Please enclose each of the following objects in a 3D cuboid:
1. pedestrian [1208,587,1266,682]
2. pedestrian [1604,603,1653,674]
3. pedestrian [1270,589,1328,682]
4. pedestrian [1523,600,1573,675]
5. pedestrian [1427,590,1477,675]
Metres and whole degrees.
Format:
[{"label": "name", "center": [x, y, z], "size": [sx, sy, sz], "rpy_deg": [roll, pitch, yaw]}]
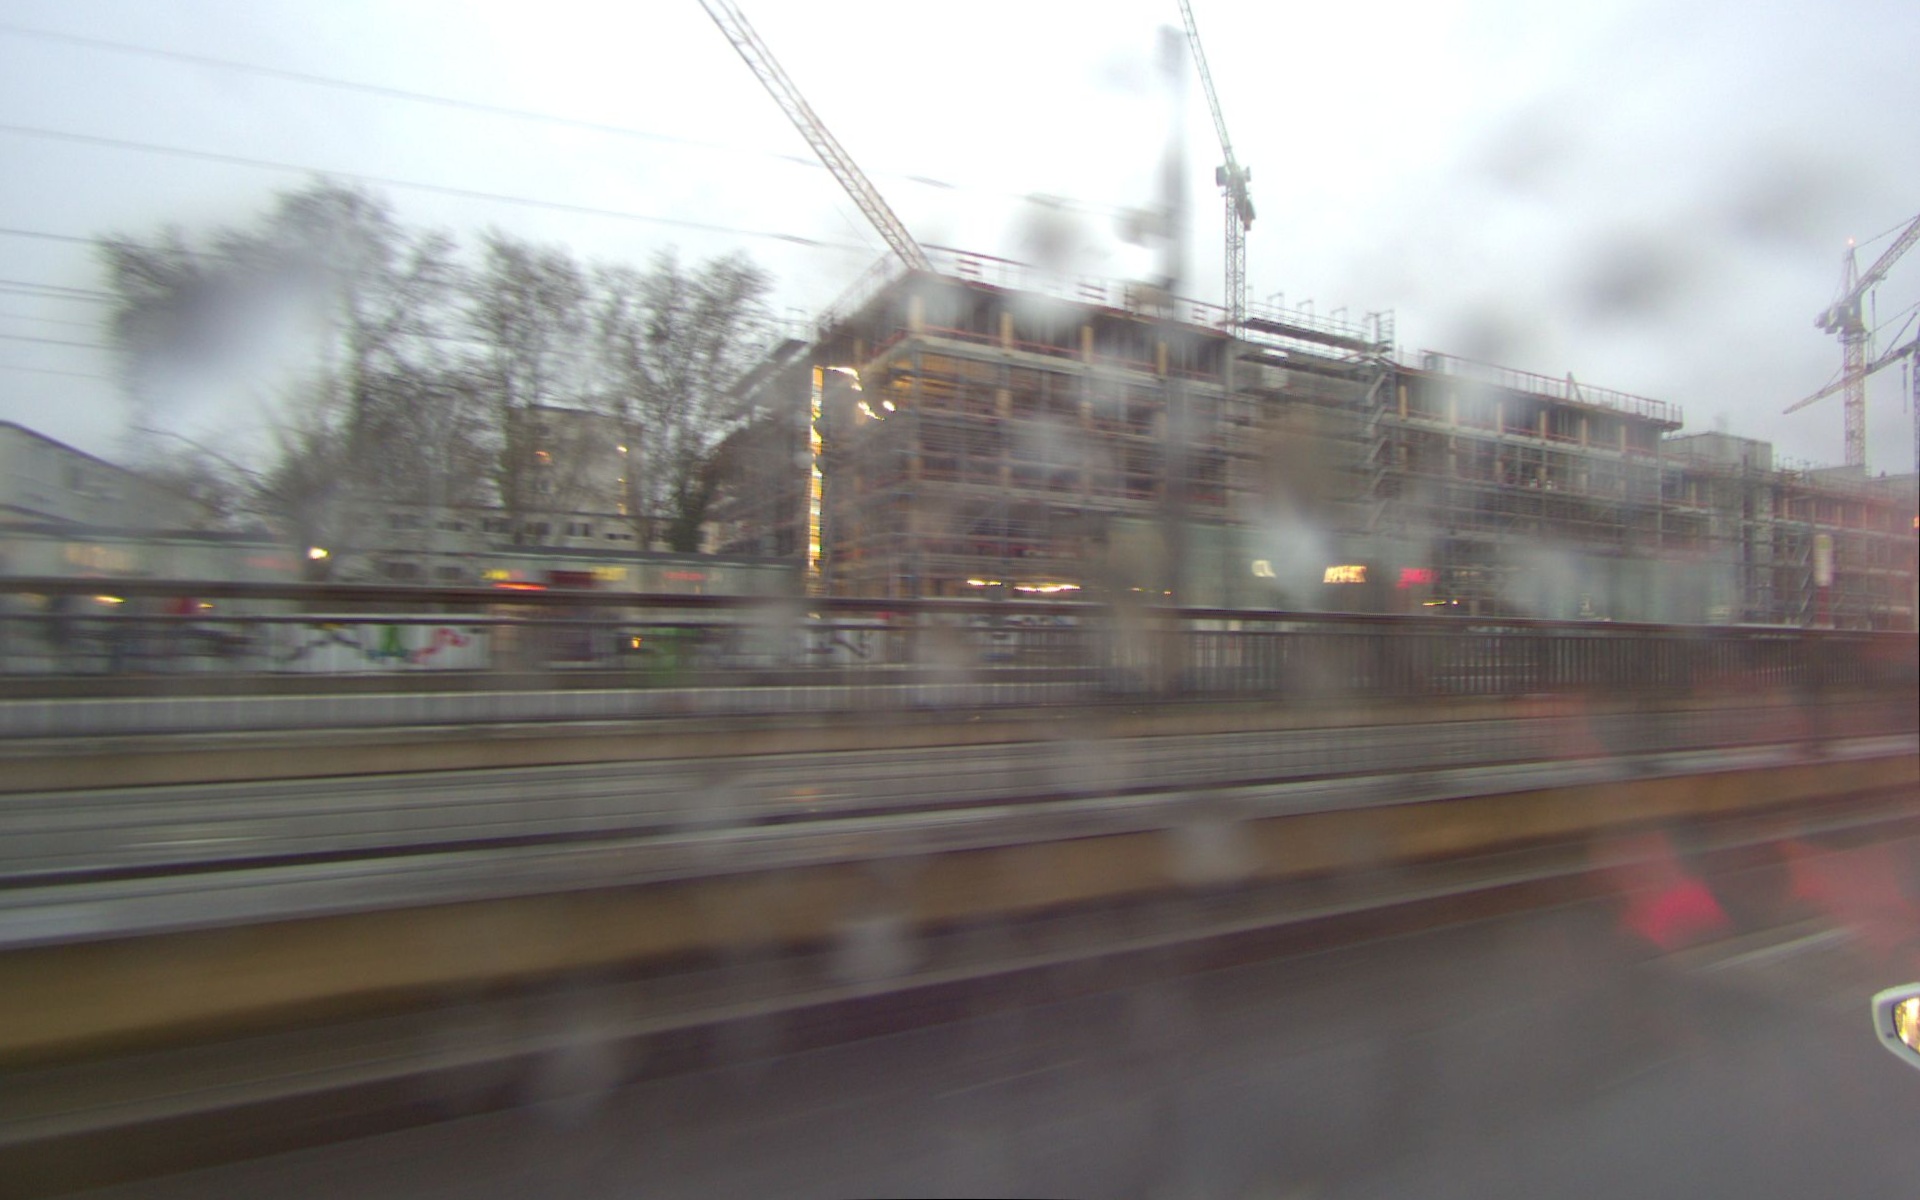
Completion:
[{"label": "pedestrian", "center": [4.691, 0.583, 17.012], "size": [0.728, 1.571, 0.584], "rpy_deg": [1, -1, -17]}, {"label": "pedestrian", "center": [14.974, 0.859, 22.512], "size": [0.728, 1.571, 0.584], "rpy_deg": [1, -1, -17]}, {"label": "pedestrian", "center": [5.879, 0.611, 17.436], "size": [0.728, 1.571, 0.584], "rpy_deg": [1, -1, -17]}, {"label": "pedestrian", "center": [12.528, 0.796, 21.403], "size": [0.728, 1.571, 0.584], "rpy_deg": [1, -1, -17]}, {"label": "pedestrian", "center": [10.147, 0.665, 20.725], "size": [0.728, 1.724, 0.584], "rpy_deg": [1, -1, -17]}]
